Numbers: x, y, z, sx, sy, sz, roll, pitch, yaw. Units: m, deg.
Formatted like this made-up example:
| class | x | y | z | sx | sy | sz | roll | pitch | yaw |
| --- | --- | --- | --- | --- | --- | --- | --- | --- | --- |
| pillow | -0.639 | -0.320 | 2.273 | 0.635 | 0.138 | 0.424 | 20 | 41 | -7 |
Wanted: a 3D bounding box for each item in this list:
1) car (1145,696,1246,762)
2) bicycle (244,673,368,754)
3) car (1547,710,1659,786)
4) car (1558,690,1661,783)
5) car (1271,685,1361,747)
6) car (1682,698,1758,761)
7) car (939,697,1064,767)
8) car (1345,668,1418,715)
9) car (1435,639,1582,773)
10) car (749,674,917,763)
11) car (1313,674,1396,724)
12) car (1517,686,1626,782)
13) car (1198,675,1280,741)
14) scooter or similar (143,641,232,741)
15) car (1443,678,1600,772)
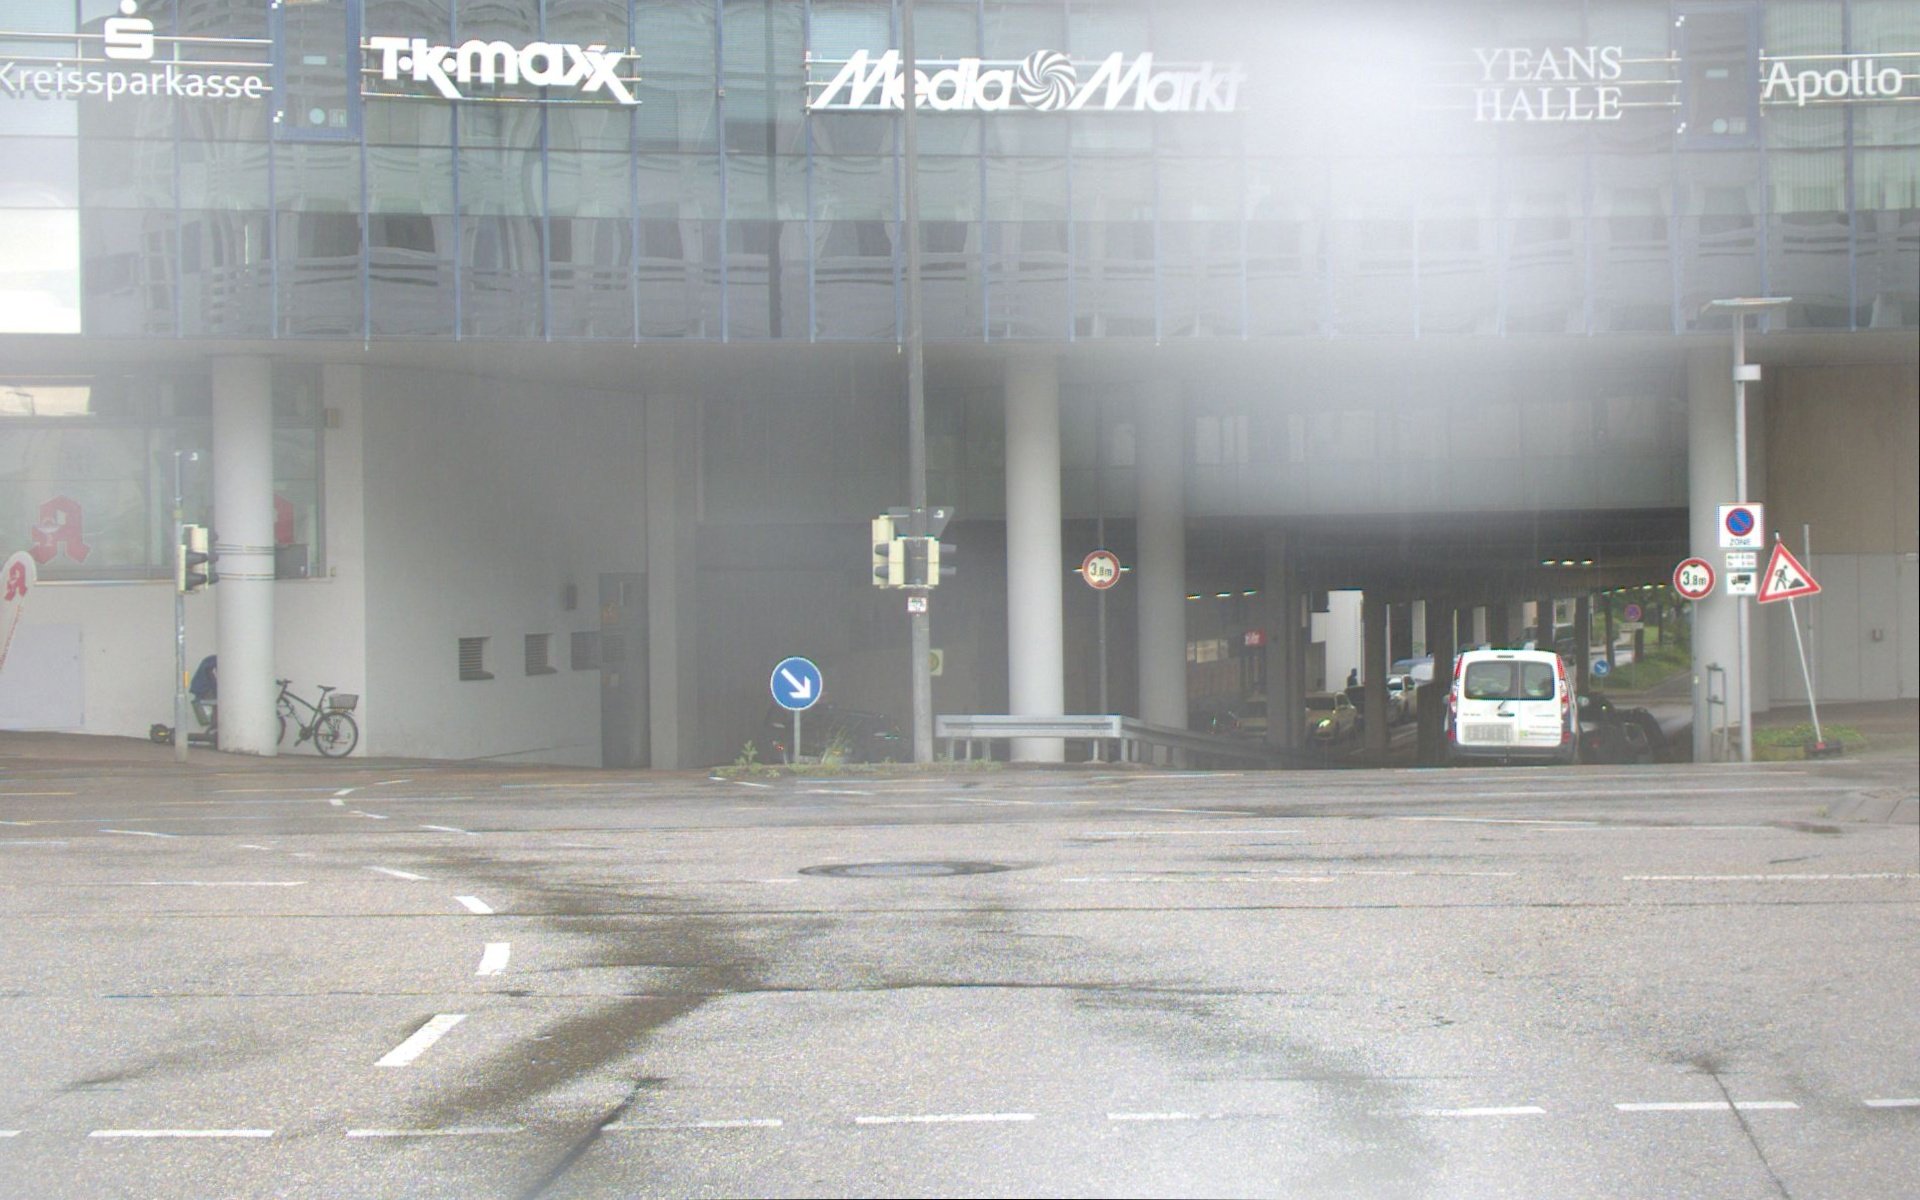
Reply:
| class | x | y | z | sx | sy | sz | roll | pitch | yaw |
| --- | --- | --- | --- | --- | --- | --- | --- | --- | --- |
| car | 6.283 | 3.403 | 91.295 | 1.916 | 1.582 | 3.936 | -1 | -1 | 15 |
| bicycle | -9.261 | 1.605 | 48.702 | 1.581 | 1.014 | 0.452 | 6 | -2 | -31 |
| car | 12.366 | 2.856 | 65.974 | 1.781 | 1.396 | 3.996 | -1 | -3 | 15 |
| car | 13.426 | 2.791 | 70.927 | 1.792 | 1.764 | 3.997 | -1 | -1 | 14 |
| car | 10.565 | 3.417 | 101.885 | 1.995 | 1.658 | 3.997 | 1 | 0 | 15 |
| car | 20.115 | 3.408 | 90.909 | 1.889 | 1.486 | 3.838 | 1 | 0 | 13 |
| car | 0.924 | 2.853 | 74.435 | 1.772 | 1.459 | 3.872 | -1 | -2 | 15 |
| car | 14.080 | 3.039 | 114.607 | 1.994 | 1.459 | 3.998 | -1 | -1 | 13 |
| car | 7.802 | 1.488 | 48.639 | 1.926 | 1.791 | 4.294 | -1 | -1 | 10 |
| car | -2.265 | 2.180 | 62.499 | 1.894 | 1.465 | 4.023 | -1 | -4 | 16 |
| car | 12.586 | 3.152 | 109.522 | 1.995 | 1.459 | 3.997 | -1 | -1 | 15 |
| car | 10.875 | 2.359 | 60.963 | 1.634 | 1.606 | 4.259 | -2 | -2 | 13 |
| car | 7.823 | 3.012 | 96.096 | 1.837 | 1.722 | 3.998 | -1 | 0 | 11 |
| scooter or similar | -10.835 | 1.274 | 48.214 | 1.166 | 1.368 | 0.489 | 1 | 0 | -15 |
| car | 9.214 | 2.070 | 56.222 | 1.759 | 1.459 | 3.938 | -2 | -3 | 21 |
